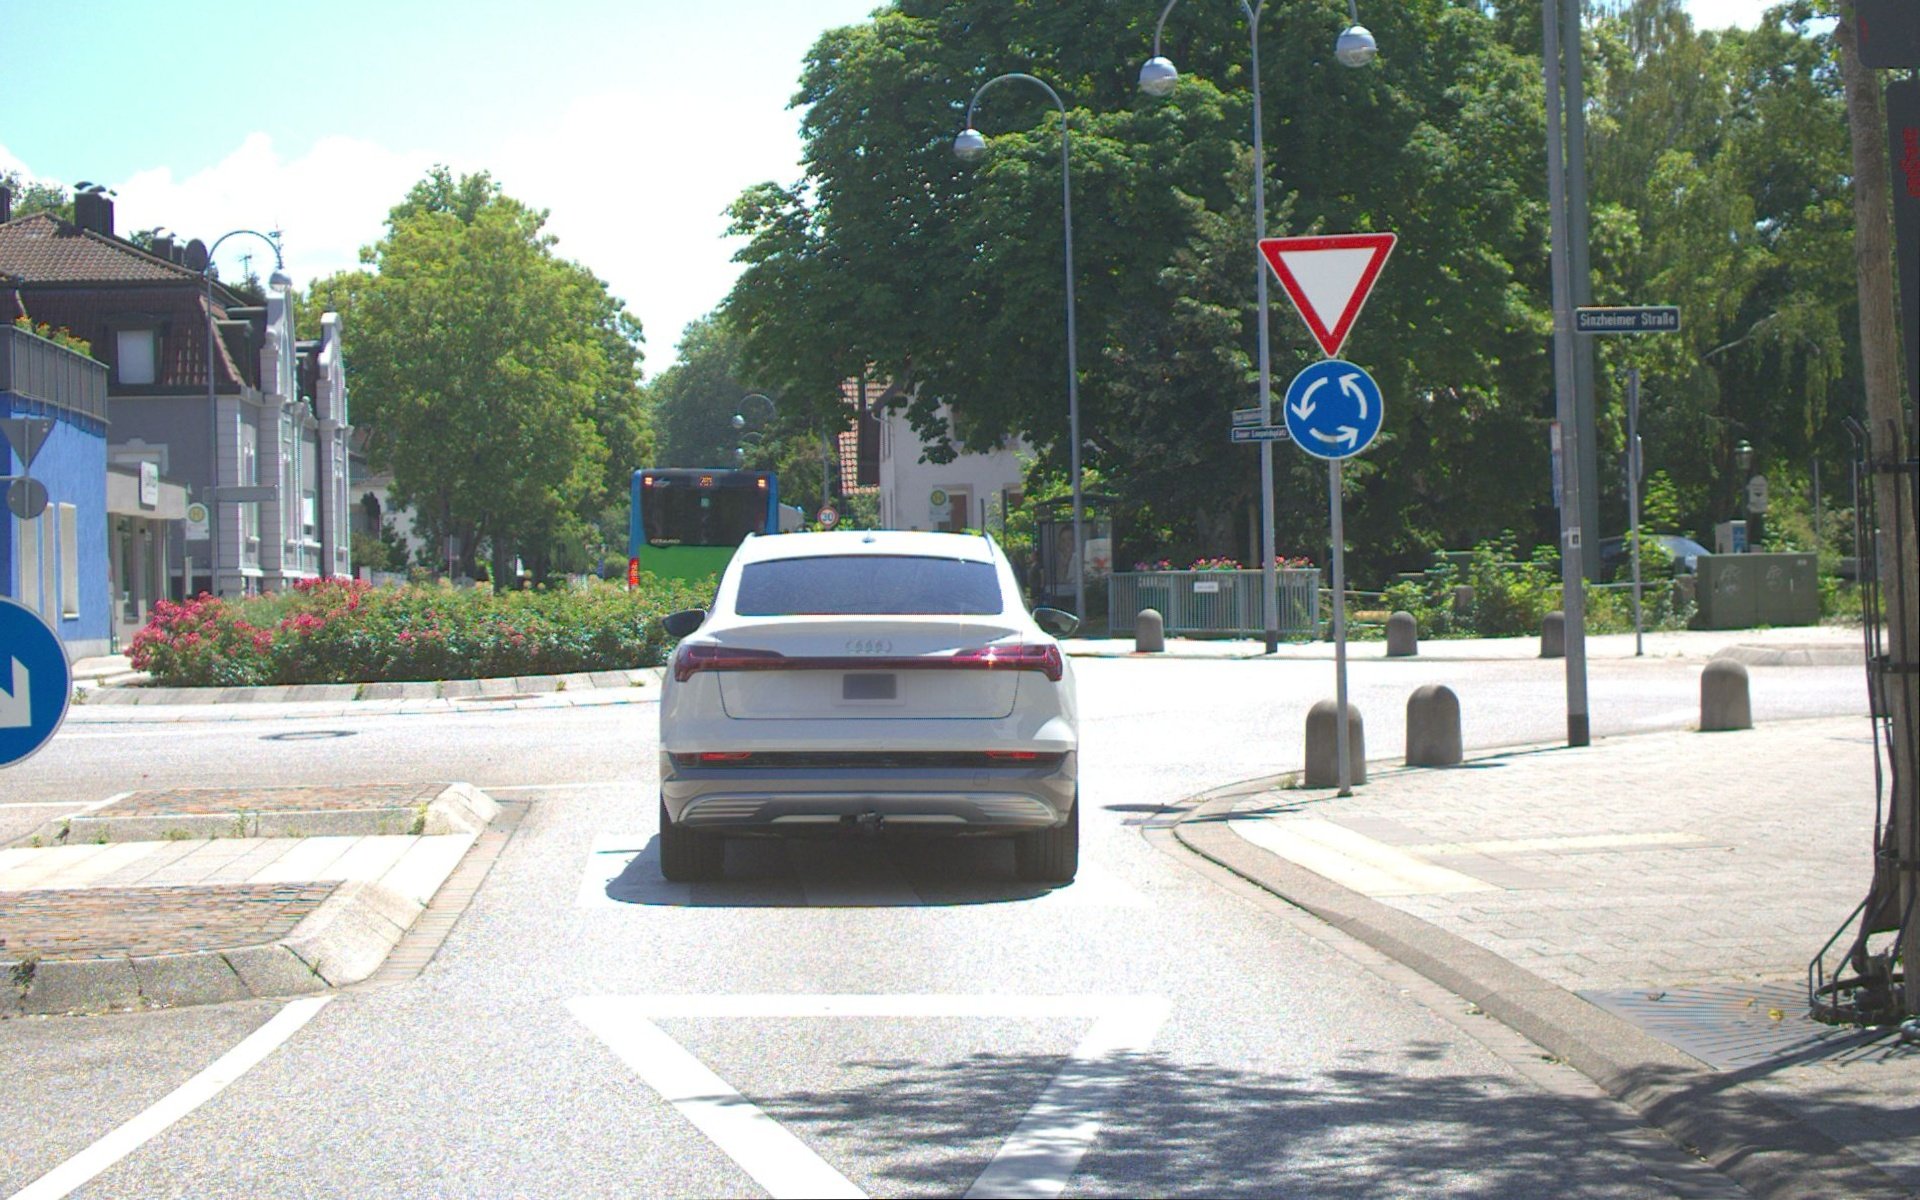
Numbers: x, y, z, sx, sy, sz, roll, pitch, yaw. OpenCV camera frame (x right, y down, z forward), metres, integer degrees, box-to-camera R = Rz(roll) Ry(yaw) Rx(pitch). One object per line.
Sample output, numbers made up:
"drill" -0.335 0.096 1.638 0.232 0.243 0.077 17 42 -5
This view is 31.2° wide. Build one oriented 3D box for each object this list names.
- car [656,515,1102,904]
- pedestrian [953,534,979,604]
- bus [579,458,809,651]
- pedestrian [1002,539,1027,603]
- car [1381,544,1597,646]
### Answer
"car" -0.462 0.436 16.865 1.898 1.656 4.410 0 1 -3
"pedestrian" 0.139 -0.742 81.676 0.502 1.644 0.580 -1 1 -9
"bus" -4.810 -0.798 66.061 3.706 3.160 18.070 1 0 -2
"pedestrian" 1.296 -0.686 81.490 0.488 1.517 0.543 -1 1 -9
"car" 8.645 -0.096 56.239 3.048 1.547 1.635 -2 1 -17
